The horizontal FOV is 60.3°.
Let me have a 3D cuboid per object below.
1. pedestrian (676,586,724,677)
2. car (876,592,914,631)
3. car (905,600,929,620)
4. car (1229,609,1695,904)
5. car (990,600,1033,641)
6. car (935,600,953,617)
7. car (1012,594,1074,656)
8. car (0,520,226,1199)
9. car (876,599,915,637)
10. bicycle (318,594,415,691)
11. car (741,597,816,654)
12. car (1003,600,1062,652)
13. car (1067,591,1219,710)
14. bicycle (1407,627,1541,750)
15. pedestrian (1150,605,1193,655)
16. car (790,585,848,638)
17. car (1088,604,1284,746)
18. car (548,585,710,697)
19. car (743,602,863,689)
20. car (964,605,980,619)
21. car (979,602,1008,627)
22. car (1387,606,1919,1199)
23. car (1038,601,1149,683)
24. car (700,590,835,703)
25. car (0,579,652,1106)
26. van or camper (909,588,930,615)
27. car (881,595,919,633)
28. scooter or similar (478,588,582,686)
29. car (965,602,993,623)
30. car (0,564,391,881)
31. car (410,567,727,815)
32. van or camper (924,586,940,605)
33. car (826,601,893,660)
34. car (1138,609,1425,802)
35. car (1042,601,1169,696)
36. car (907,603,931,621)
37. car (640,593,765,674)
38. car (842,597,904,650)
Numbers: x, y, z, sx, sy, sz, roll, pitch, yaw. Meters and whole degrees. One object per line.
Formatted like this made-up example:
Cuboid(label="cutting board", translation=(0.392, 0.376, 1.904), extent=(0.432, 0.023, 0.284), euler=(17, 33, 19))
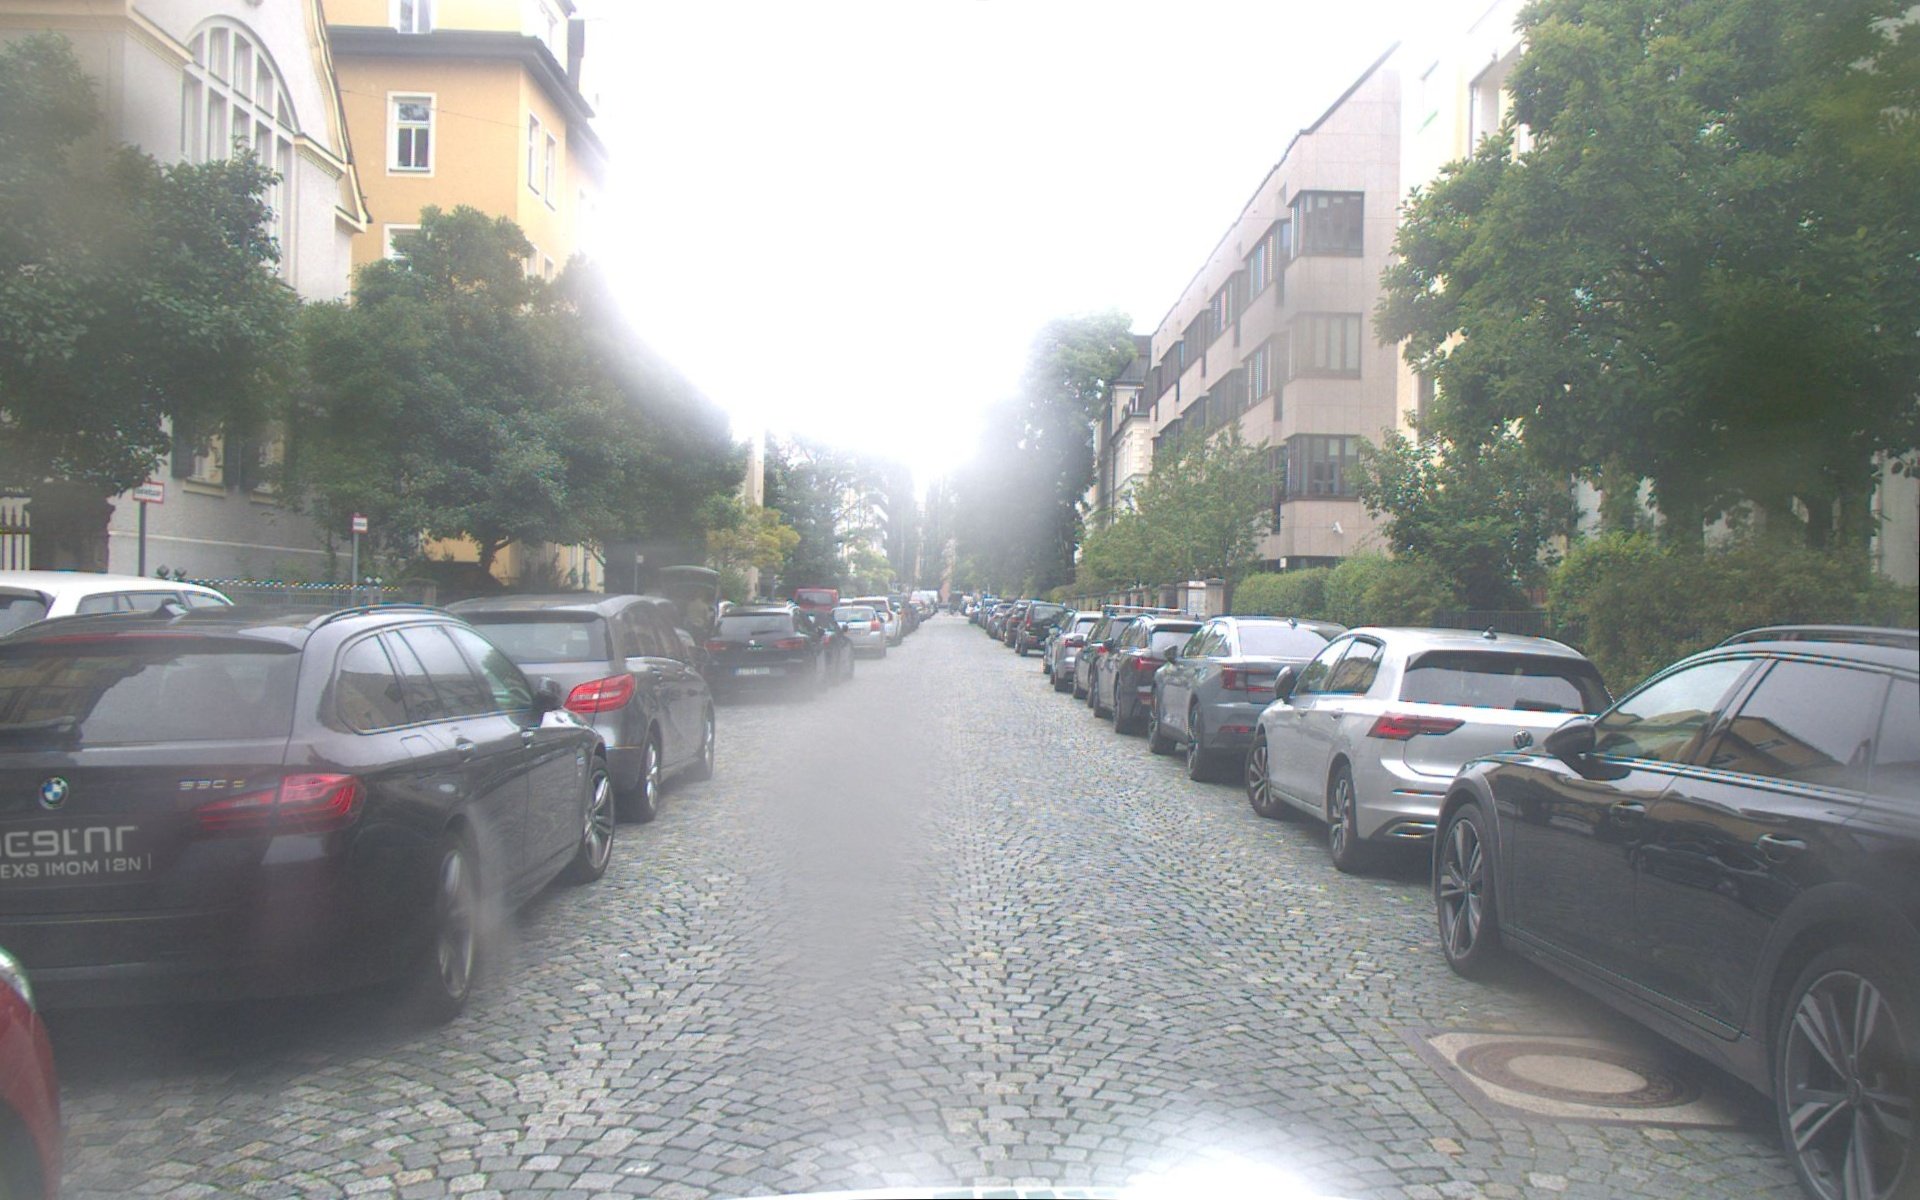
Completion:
Cuboid(label="pedestrian", translation=(-4.908, 0.584, 31.259), extent=(0.750, 1.679, 0.582), euler=(2, -1, 1))
Cuboid(label="car", translation=(-3.323, 0.586, 85.283), extent=(1.835, 1.951, 4.826), euler=(-1, 0, -1))
Cuboid(label="car", translation=(-3.575, 0.820, 136.704), extent=(1.835, 1.607, 4.253), euler=(-2, 0, -3))
Cuboid(label="car", translation=(3.087, 0.862, 11.202), extent=(1.720, 1.485, 4.480), euler=(4, 0, 0))
Cuboid(label="car", translation=(2.401, 0.964, 78.085), extent=(1.835, 1.765, 4.892), euler=(3, 0, 1))
Cuboid(label="car", translation=(-1.786, 0.965, 182.193), extent=(1.953, 1.758, 3.999), euler=(0, -1, -1))
Cuboid(label="car", translation=(2.622, 0.775, 53.130), extent=(1.586, 1.781, 3.886), euler=(4, 0, -2))
Cuboid(label="car", translation=(-2.450, 0.668, 1.491), extent=(1.804, 1.614, 4.190), euler=(0, 0, -2))
Cuboid(label="car", translation=(-3.145, 0.841, 80.152), extent=(1.828, 1.765, 4.401), euler=(-1, 0, -3))
Cuboid(label="bicycle", translation=(-8.322, 0.574, 23.265), extent=(0.593, 1.281, 2.060), euler=(2, 0, 0))
Cuboid(label="car", translation=(-5.304, 0.724, 48.823), extent=(1.680, 1.523, 4.721), euler=(3, 0, -1))
Cuboid(label="car", translation=(2.659, 0.927, 61.600), extent=(1.823, 1.731, 4.812), euler=(4, 0, 0))
Cuboid(label="car", translation=(2.869, 0.758, 26.789), extent=(1.855, 1.682, 4.293), euler=(3, 0, -1))
Cuboid(label="bicycle", translation=(5.490, 0.928, 17.758), extent=(0.570, 1.216, 1.642), euler=(2, 0, -15))
Cuboid(label="pedestrian", translation=(6.606, 0.931, 51.734), extent=(1.191, 1.519, 1.129), euler=(-1, 0, 2))
Cuboid(label="car", translation=(-5.603, 0.457, 66.335), extent=(1.954, 1.964, 5.329), euler=(3, 0, -2))
Cuboid(label="car", translation=(2.804, 0.877, 21.584), extent=(1.782, 1.514, 5.049), euler=(4, 0, 0))
Cuboid(label="car", translation=(-5.185, 0.612, 26.466), extent=(1.704, 1.563, 4.466), euler=(3, 0, -1))
Cuboid(label="car", translation=(-2.909, 0.815, 31.604), extent=(1.777, 1.480, 4.912), euler=(-1, 0, 0))
Cuboid(label="car", translation=(1.398, 1.376, 190.263), extent=(1.753, 1.547, 4.000), euler=(1, 0, 0))
Cuboid(label="car", translation=(2.227, 0.953, 110.880), extent=(1.799, 1.516, 4.421), euler=(4, 0, 0))
Cuboid(label="car", translation=(3.063, 0.853, 5.535), extent=(1.866, 1.529, 5.105), euler=(4, 0, 0))
Cuboid(label="car", translation=(2.900, 0.879, 36.949), extent=(1.953, 1.579, 5.013), euler=(4, 0, -1))
Cuboid(label="car", translation=(-2.981, 0.691, 26.438), extent=(1.704, 1.631, 4.536), euler=(0, 0, -1))
Cuboid(label="car", translation=(-2.666, 0.702, 7.272), extent=(1.832, 1.496, 5.131), euler=(0, 0, -2))
Cuboid(label="van or camper", translation=(-4.140, 0.170, 169.280), extent=(1.953, 2.698, 4.000), euler=(-2, 0, 0))
Cuboid(label="car", translation=(-3.300, 0.770, 91.715), extent=(1.953, 1.950, 5.176), euler=(-2, 0, -1))
Cuboid(label="scooter or similar", translation=(-7.212, 0.595, 27.893), extent=(1.040, 1.550, 2.634), euler=(1, 0, 0))
Cuboid(label="car", translation=(1.474, 0.967, 128.574), extent=(1.836, 1.529, 4.509), euler=(4, 0, -2))
Cuboid(label="car", translation=(-5.134, 0.566, 10.051), extent=(1.804, 1.491, 4.389), euler=(2, 0, 0))
Cuboid(label="car", translation=(-2.845, 0.602, 12.893), extent=(1.705, 1.614, 4.189), euler=(0, 0, -4))
Cuboid(label="van or camper", translation=(-4.311, -0.623, 253.971), extent=(2.210, 2.790, 5.097), euler=(2, 0, 0))
Cuboid(label="car", translation=(-2.837, 0.834, 47.331), extent=(1.679, 1.589, 4.389), euler=(-1, 0, -1))
Cuboid(label="car", translation=(2.988, 0.908, 16.452), extent=(1.844, 1.514, 4.813), euler=(4, 0, 0))
Cuboid(label="car", translation=(2.693, 0.859, 31.689), extent=(1.953, 1.579, 4.986), euler=(3, 0, 0))
Cuboid(label="car", translation=(-3.805, 1.136, 154.371), extent=(1.834, 1.607, 4.209), euler=(3, 0, 3))
Cuboid(label="car", translation=(-5.150, 0.646, 33.624), extent=(1.739, 1.441, 4.561), euler=(3, 0, 0))
Cuboid(label="car", translation=(-3.148, 0.819, 60.696), extent=(1.965, 1.840, 5.174), euler=(-1, 0, 0))
